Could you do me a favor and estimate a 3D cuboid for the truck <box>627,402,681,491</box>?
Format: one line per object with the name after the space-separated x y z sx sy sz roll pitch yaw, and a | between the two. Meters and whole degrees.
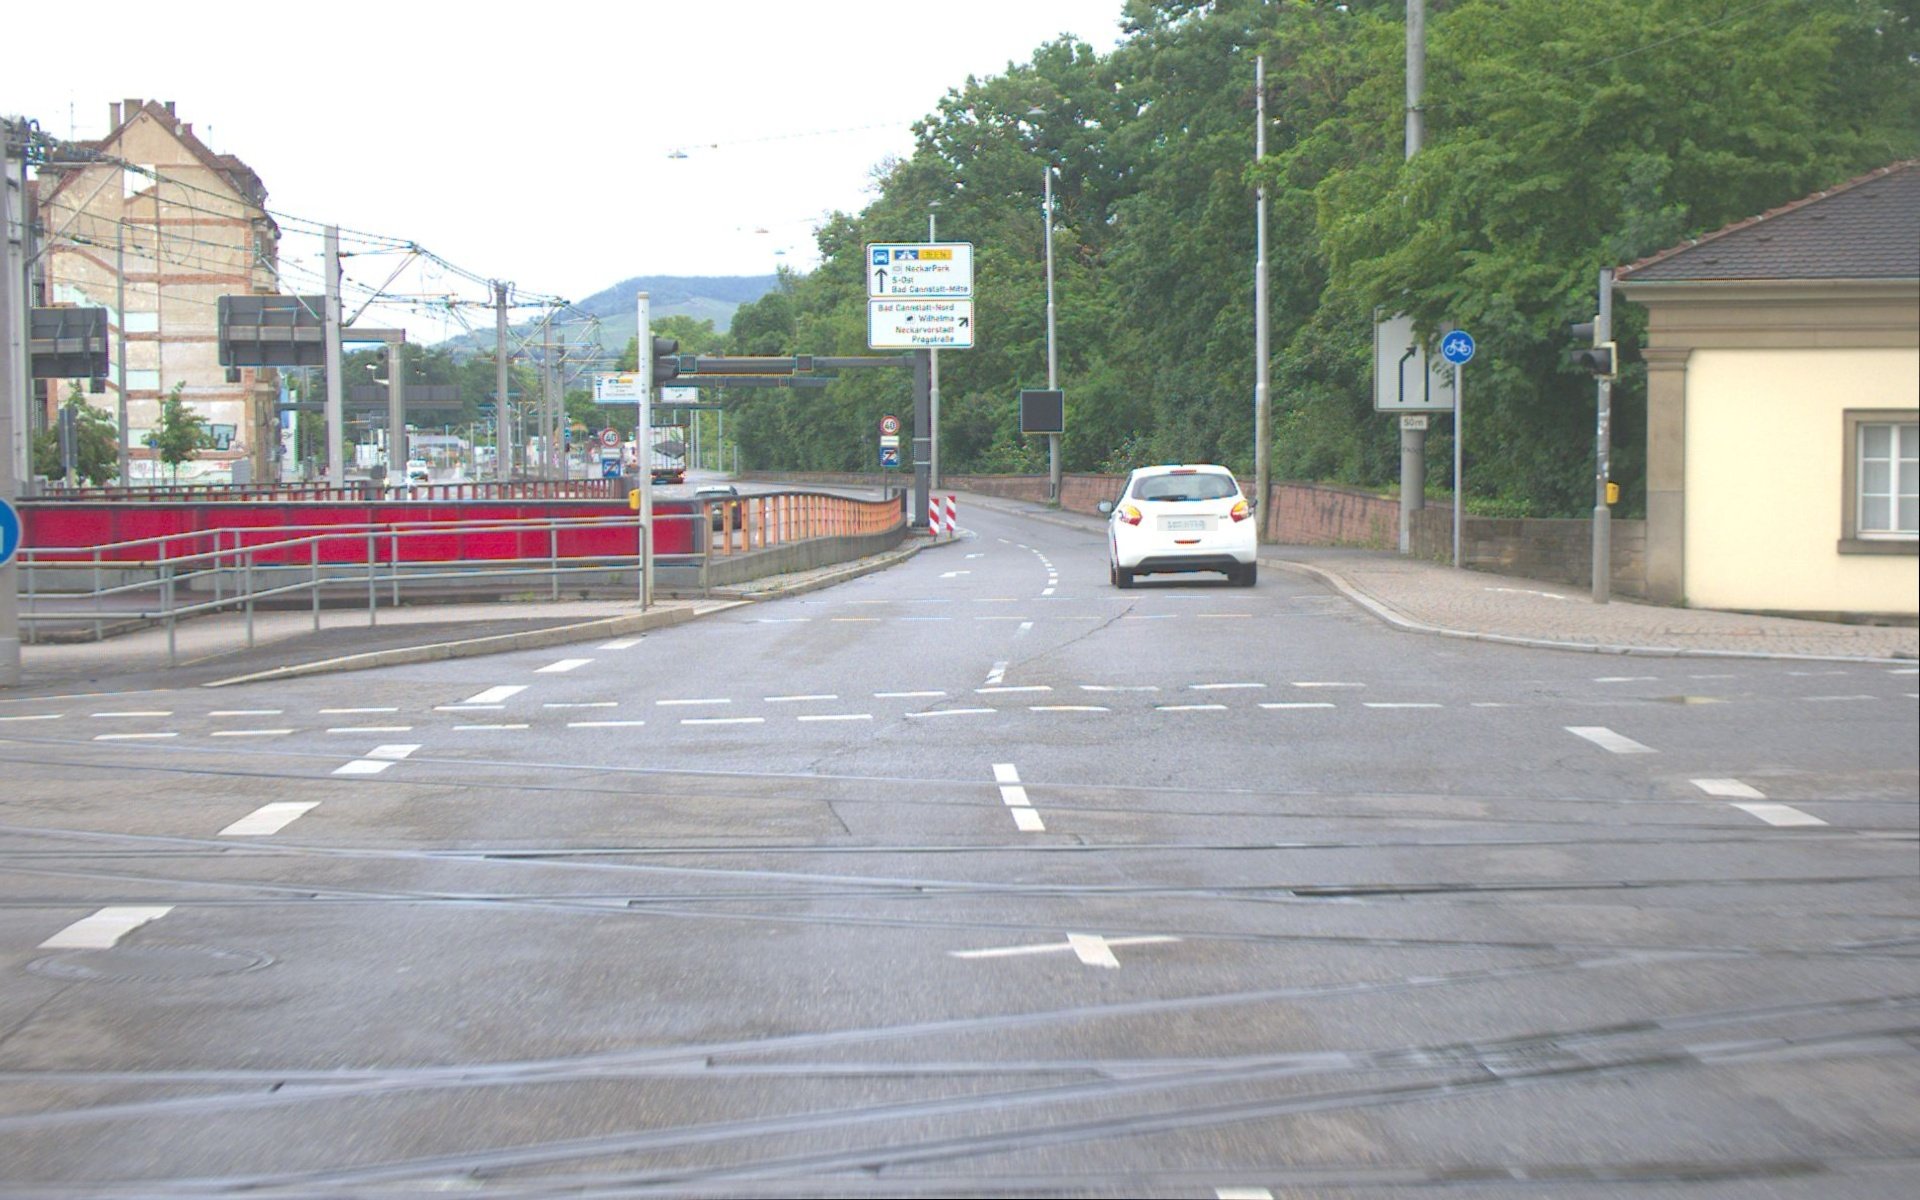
-21.166 -10.529 237.066 3.464 5.382 12.053 0 -1 -6 | truck

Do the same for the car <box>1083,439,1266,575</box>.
2.574 -1.101 42.132 1.955 1.483 4.000 0 -1 0 | car

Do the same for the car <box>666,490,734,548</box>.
-8.757 -2.727 115.483 1.993 1.866 4.001 -2 2 -8 | car
